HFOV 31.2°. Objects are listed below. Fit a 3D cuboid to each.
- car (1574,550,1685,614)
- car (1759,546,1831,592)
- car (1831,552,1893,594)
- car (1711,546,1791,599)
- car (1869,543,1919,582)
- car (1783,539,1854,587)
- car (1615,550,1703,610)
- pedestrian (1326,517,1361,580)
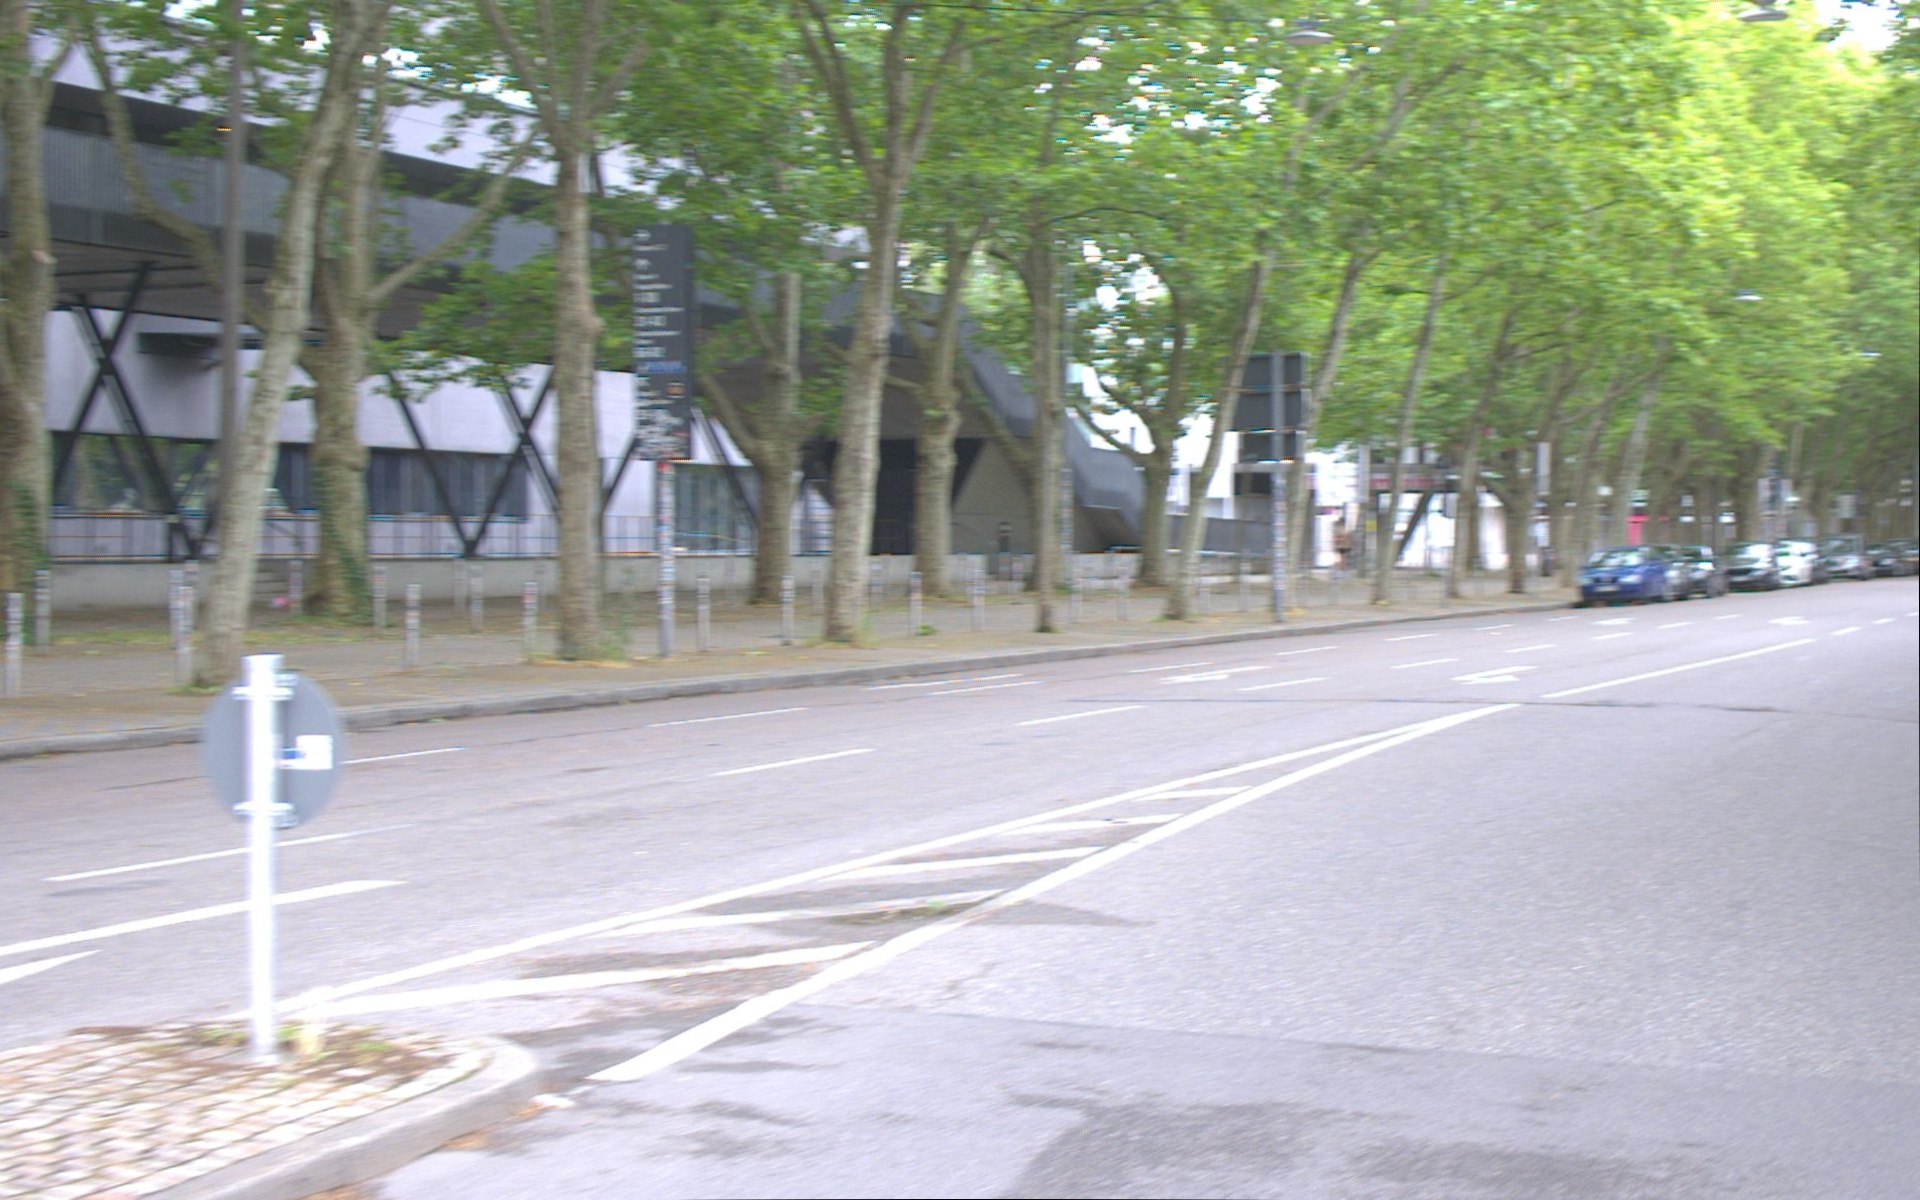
[{"bbox_3d":[15.963,-0.416,81.846,1.697,1.414,3.756,-2,-1,25],"label":"car"},{"bbox_3d":[25.906,-0.949,106.588,1.734,1.328,3.996,-1,-1,20],"label":"car"},{"bbox_3d":[32.908,-0.957,125.365,1.896,1.433,3.996,-1,-1,19],"label":"car"},{"bbox_3d":[23.030,-0.788,99.974,1.767,1.414,3.757,-2,-1,20],"label":"car"},{"bbox_3d":[37.259,-1.493,136.636,1.896,1.433,3.996,-1,-1,19],"label":"car"},{"bbox_3d":[27.973,-1.180,111.907,1.896,1.433,3.996,-1,-1,19],"label":"car"},{"bbox_3d":[17.615,-0.482,86.536,1.767,1.414,3.758,-2,-1,17],"label":"car"},{"bbox_3d":[11.276,-1.515,101.104,0.769,1.828,0.879,0,1,-14],"label":"pedestrian"}]
